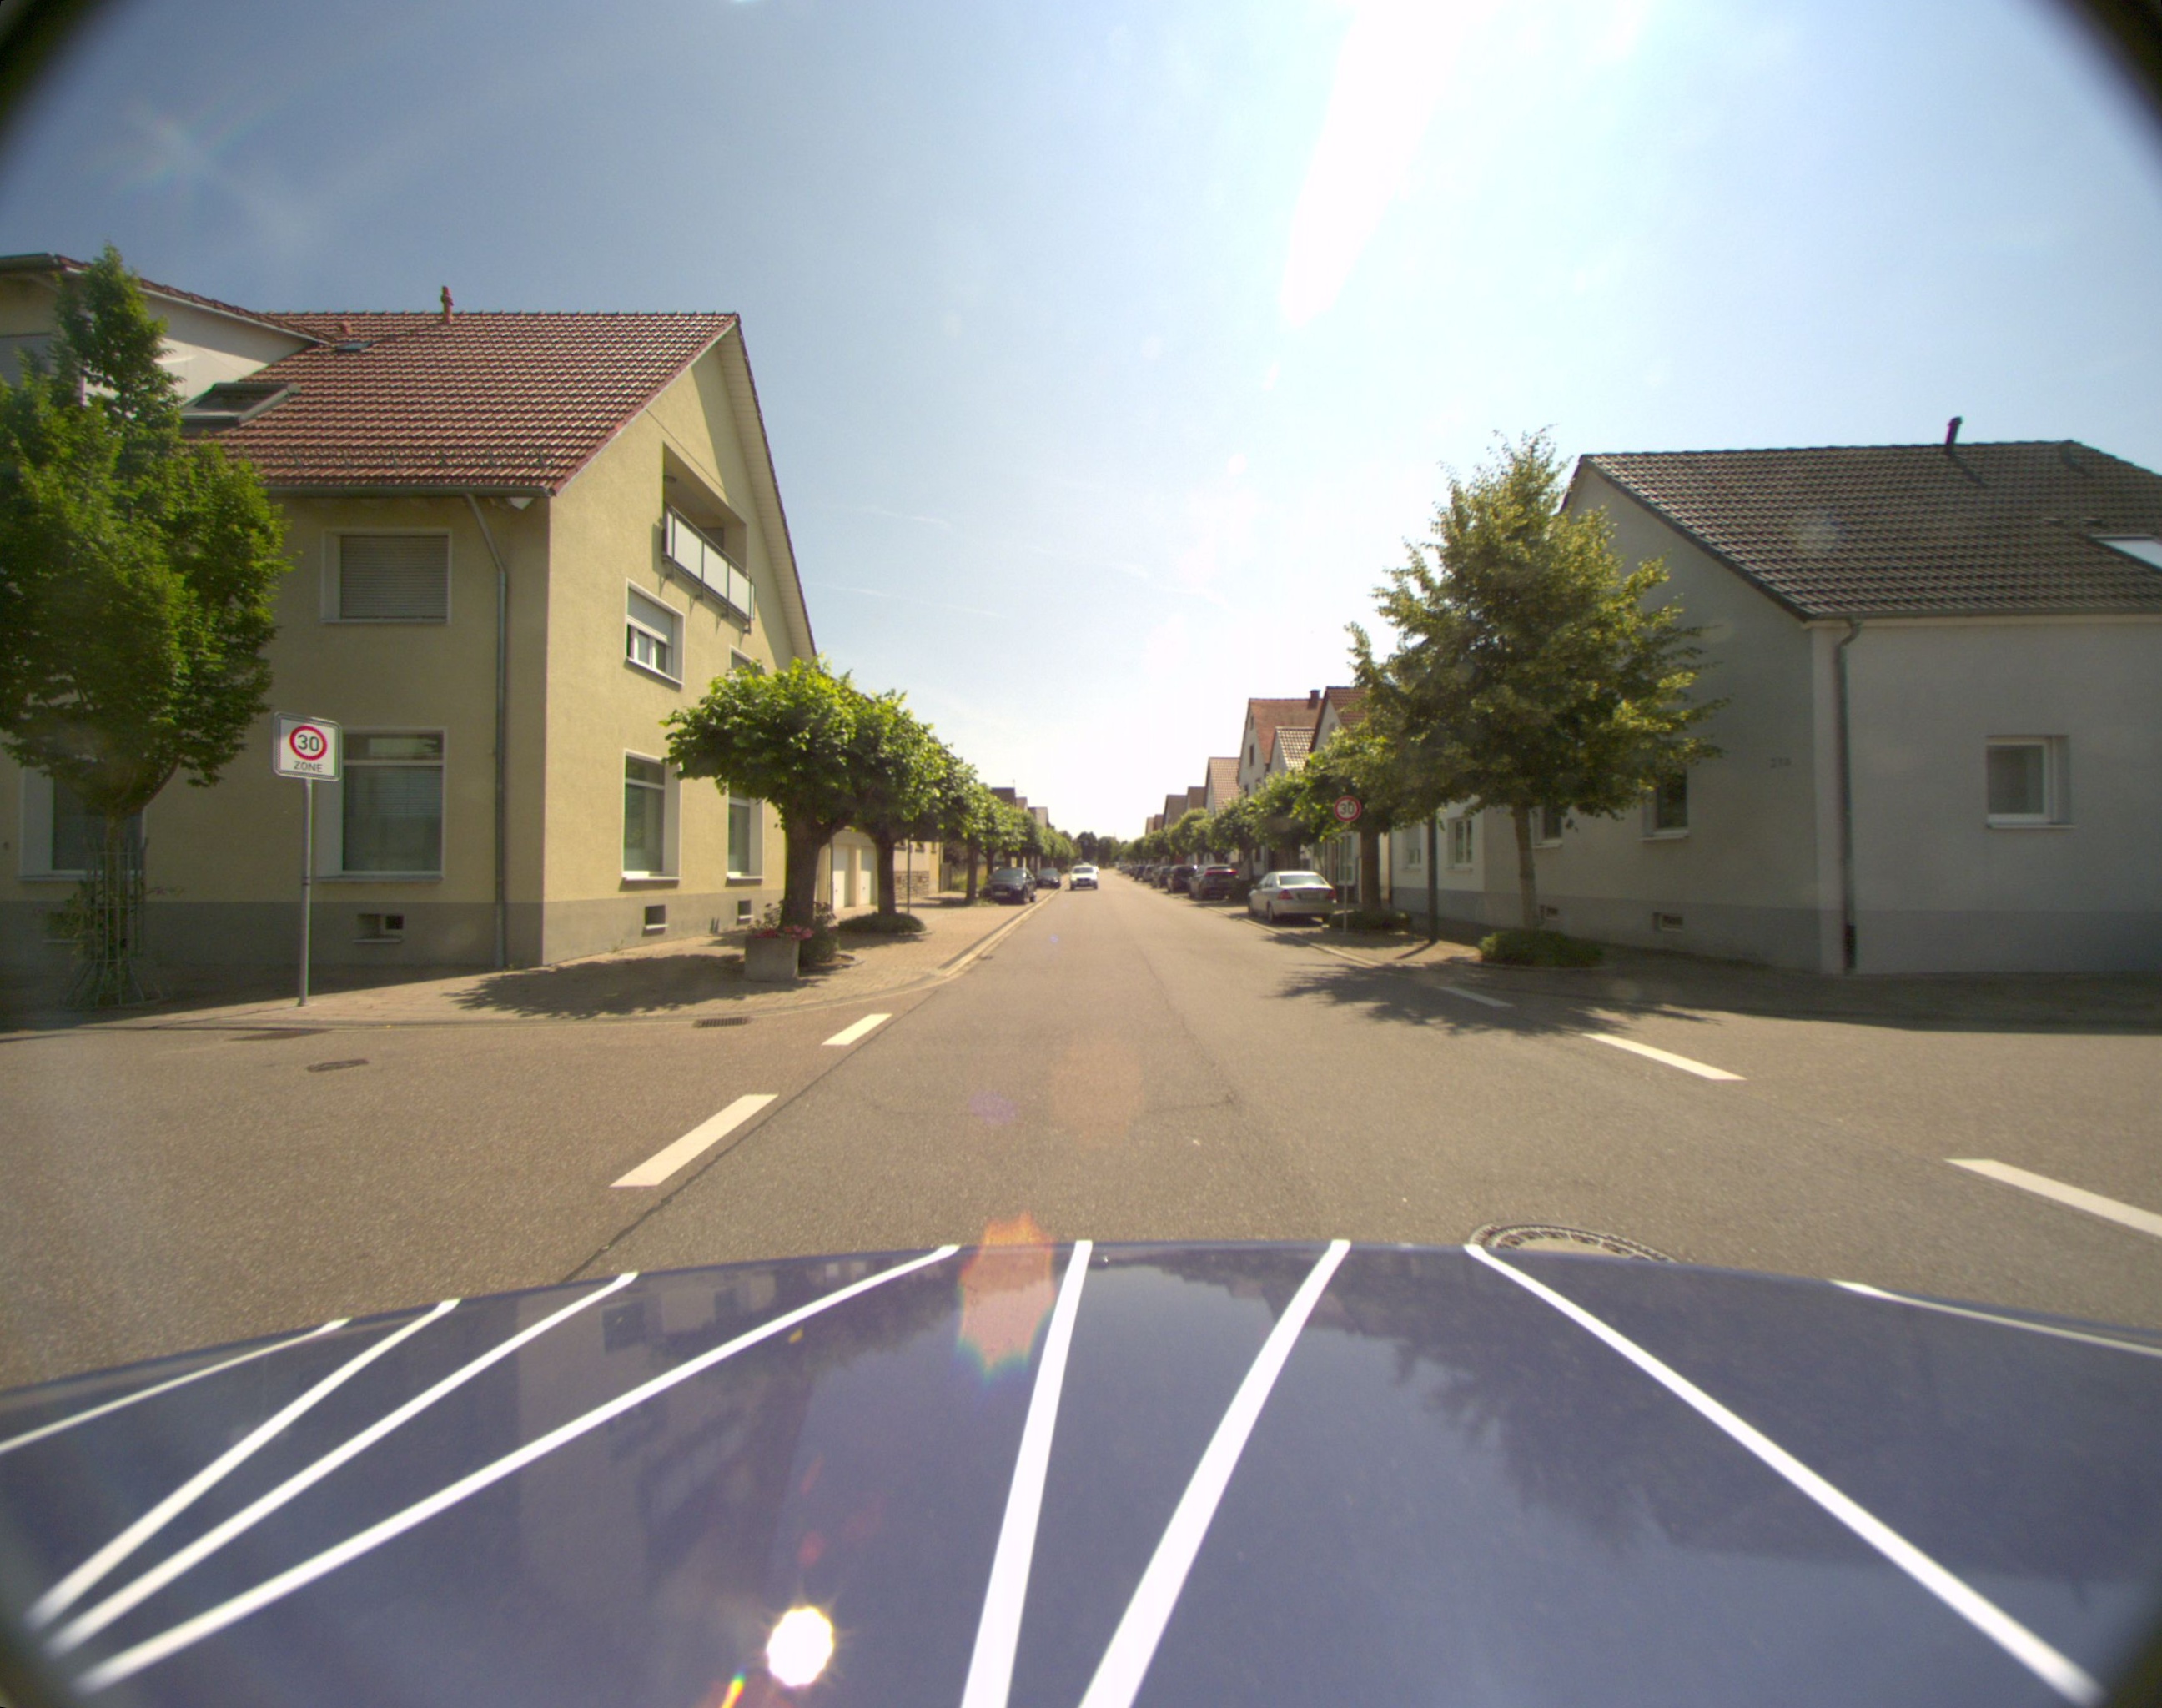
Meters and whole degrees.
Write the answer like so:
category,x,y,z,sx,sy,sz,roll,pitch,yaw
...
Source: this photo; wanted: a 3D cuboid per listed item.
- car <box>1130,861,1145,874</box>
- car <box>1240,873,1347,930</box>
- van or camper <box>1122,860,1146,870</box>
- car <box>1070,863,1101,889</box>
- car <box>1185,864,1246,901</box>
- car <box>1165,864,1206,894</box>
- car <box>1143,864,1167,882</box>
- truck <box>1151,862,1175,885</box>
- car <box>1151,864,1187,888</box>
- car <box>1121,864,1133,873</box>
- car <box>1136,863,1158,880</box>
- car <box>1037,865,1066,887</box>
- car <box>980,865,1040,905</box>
category,x,y,z,sx,sy,sz,roll,pitch,yaw
car,7.420,1.809,99.871,1.857,1.603,4.136,-2,-1,3
car,5.985,1.297,21.957,1.845,1.387,4.407,-1,-1,0
van or camper,10.923,2.321,156.044,4.752,1.851,2.000,-2,-1,0
car,0.345,1.423,50.701,1.857,1.603,4.136,-2,-1,3
car,6.351,1.326,36.382,1.999,1.642,4.367,0,-1,-3
car,6.183,1.466,45.243,1.857,1.625,4.057,-2,0,1
car,6.945,1.762,71.843,1.857,1.603,4.371,-2,0,1
truck,6.796,1.571,63.392,1.580,1.755,4.192,-2,0,1
car,6.288,1.554,54.702,1.791,1.624,3.998,-1,0,-5
car,7.807,2.468,128.032,1.829,1.474,4.133,-2,0,1
car,6.850,1.864,79.253,1.857,1.626,4.300,-2,-1,1
car,-2.051,1.542,54.035,1.829,1.423,4.057,2,-1,1
car,-2.981,1.287,32.660,1.828,1.576,4.059,1,-1,5
